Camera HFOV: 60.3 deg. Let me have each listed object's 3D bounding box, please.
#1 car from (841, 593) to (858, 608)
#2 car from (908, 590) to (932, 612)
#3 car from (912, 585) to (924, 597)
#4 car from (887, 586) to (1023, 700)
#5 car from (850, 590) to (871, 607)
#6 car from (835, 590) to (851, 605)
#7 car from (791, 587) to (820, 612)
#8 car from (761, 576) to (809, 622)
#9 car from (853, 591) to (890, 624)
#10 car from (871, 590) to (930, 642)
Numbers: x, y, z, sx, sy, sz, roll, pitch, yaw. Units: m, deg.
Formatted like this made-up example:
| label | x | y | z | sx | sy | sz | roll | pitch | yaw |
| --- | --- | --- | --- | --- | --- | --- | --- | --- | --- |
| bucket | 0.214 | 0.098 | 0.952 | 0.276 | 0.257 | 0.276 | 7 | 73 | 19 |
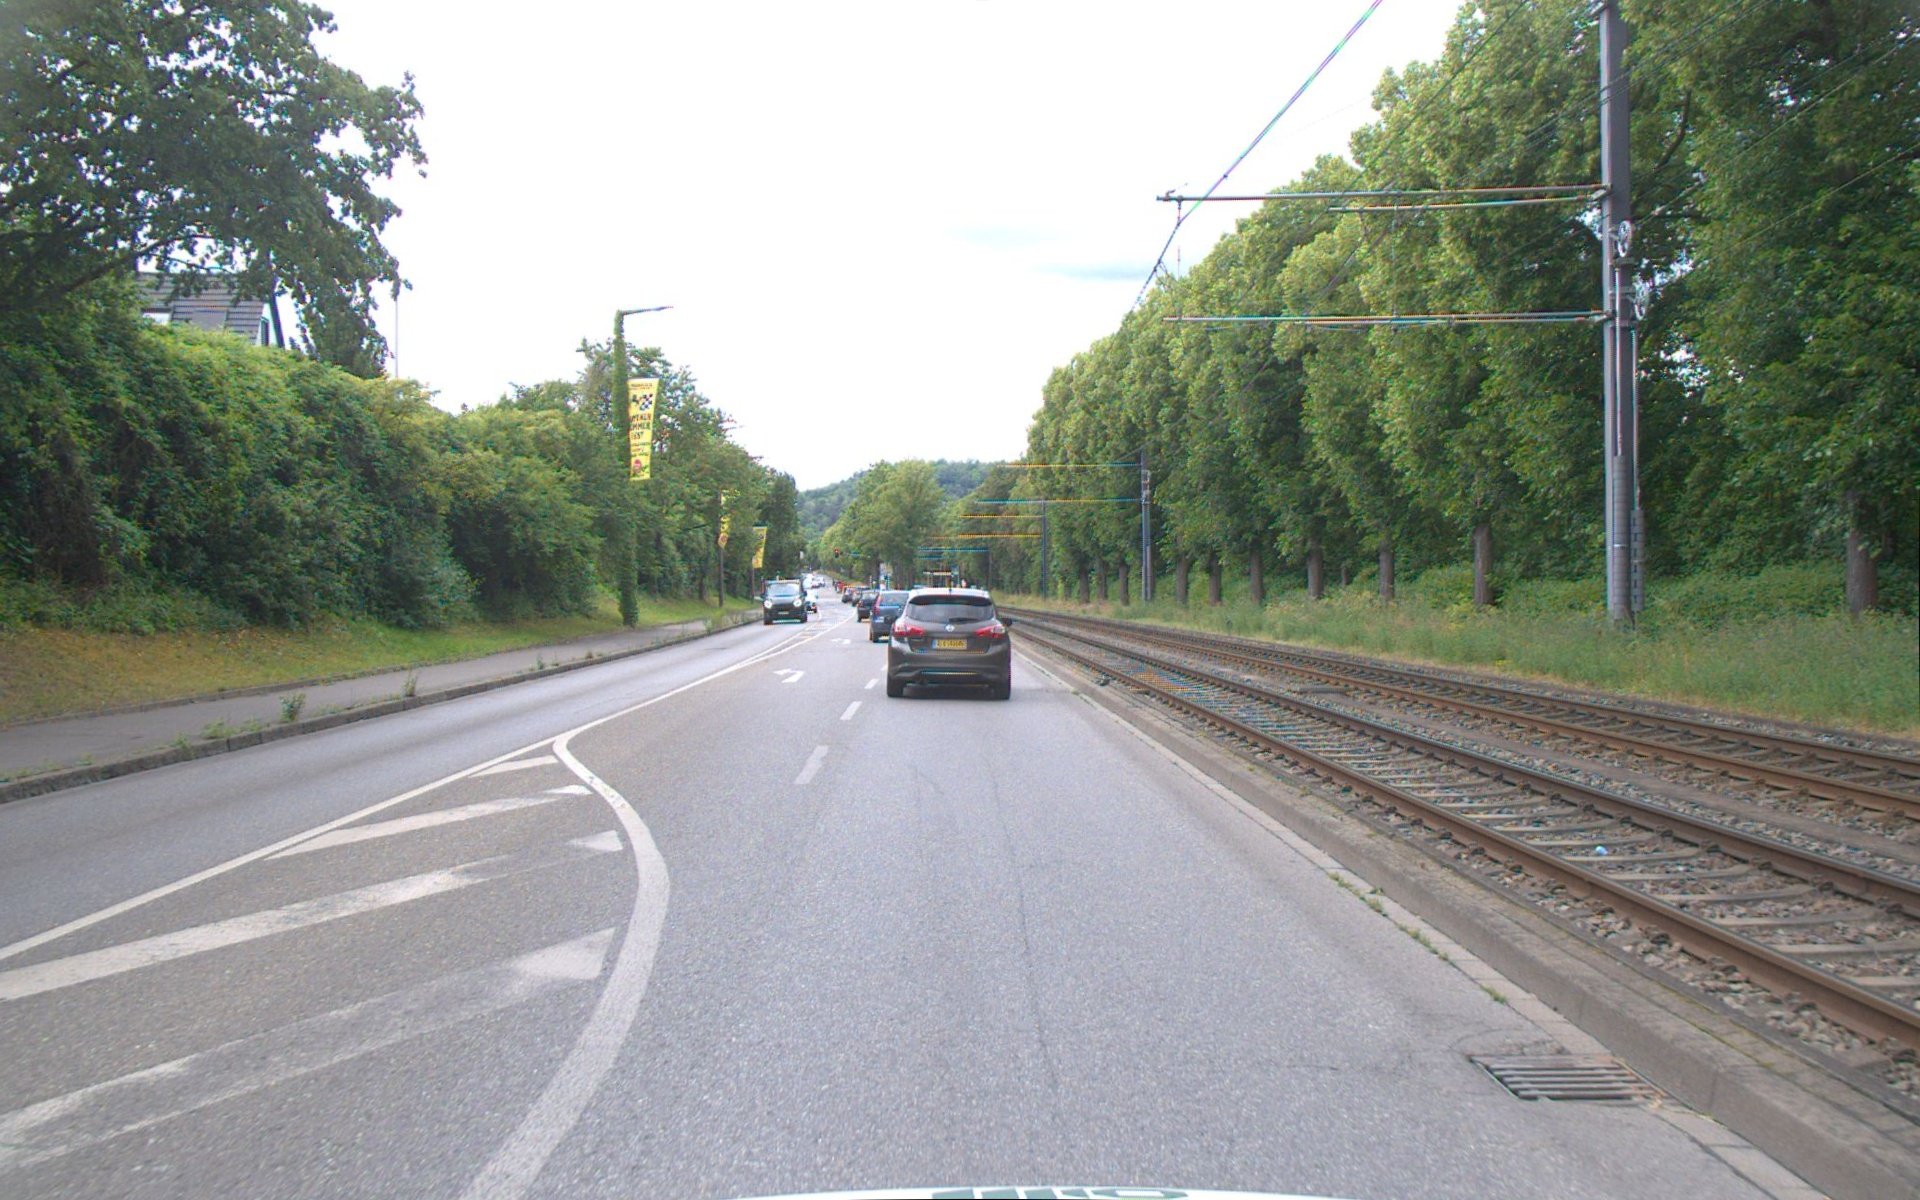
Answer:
| label | x | y | z | sx | sy | sz | roll | pitch | yaw |
| --- | --- | --- | --- | --- | --- | --- | --- | --- | --- |
| car | -12.379 | 0.042 | 185.123 | 1.665 | 1.744 | 3.999 | 0 | 0 | -1 |
| car | -2.936 | 0.083 | 120.962 | 1.681 | 1.577 | 3.998 | 0 | 0 | -2 |
| car | -6.343 | -1.390 | 251.698 | 1.681 | 1.692 | 3.704 | 0 | 0 | -4 |
| car | -0.085 | 0.569 | 24.305 | 1.813 | 1.519 | 3.999 | 1 | 0 | -1 |
| car | -9.217 | -0.145 | 154.009 | 1.757 | 1.537 | 3.999 | 0 | 0 | -1 |
| car | -13.751 | -0.316 | 194.711 | 1.665 | 1.744 | 3.999 | 0 | 0 | -1 |
| car | -10.735 | -0.022 | 115.121 | 1.805 | 1.648 | 4.157 | -2 | 0 | -3 |
| car | -8.422 | -0.053 | 79.893 | 1.954 | 2.072 | 5.113 | -2 | 0 | -3 |
| car | -4.140 | 0.336 | 77.589 | 1.666 | 1.469 | 3.998 | 0 | 0 | -3 |
| car | -1.749 | 0.457 | 48.974 | 1.665 | 1.469 | 3.999 | 0 | 0 | -2 |
